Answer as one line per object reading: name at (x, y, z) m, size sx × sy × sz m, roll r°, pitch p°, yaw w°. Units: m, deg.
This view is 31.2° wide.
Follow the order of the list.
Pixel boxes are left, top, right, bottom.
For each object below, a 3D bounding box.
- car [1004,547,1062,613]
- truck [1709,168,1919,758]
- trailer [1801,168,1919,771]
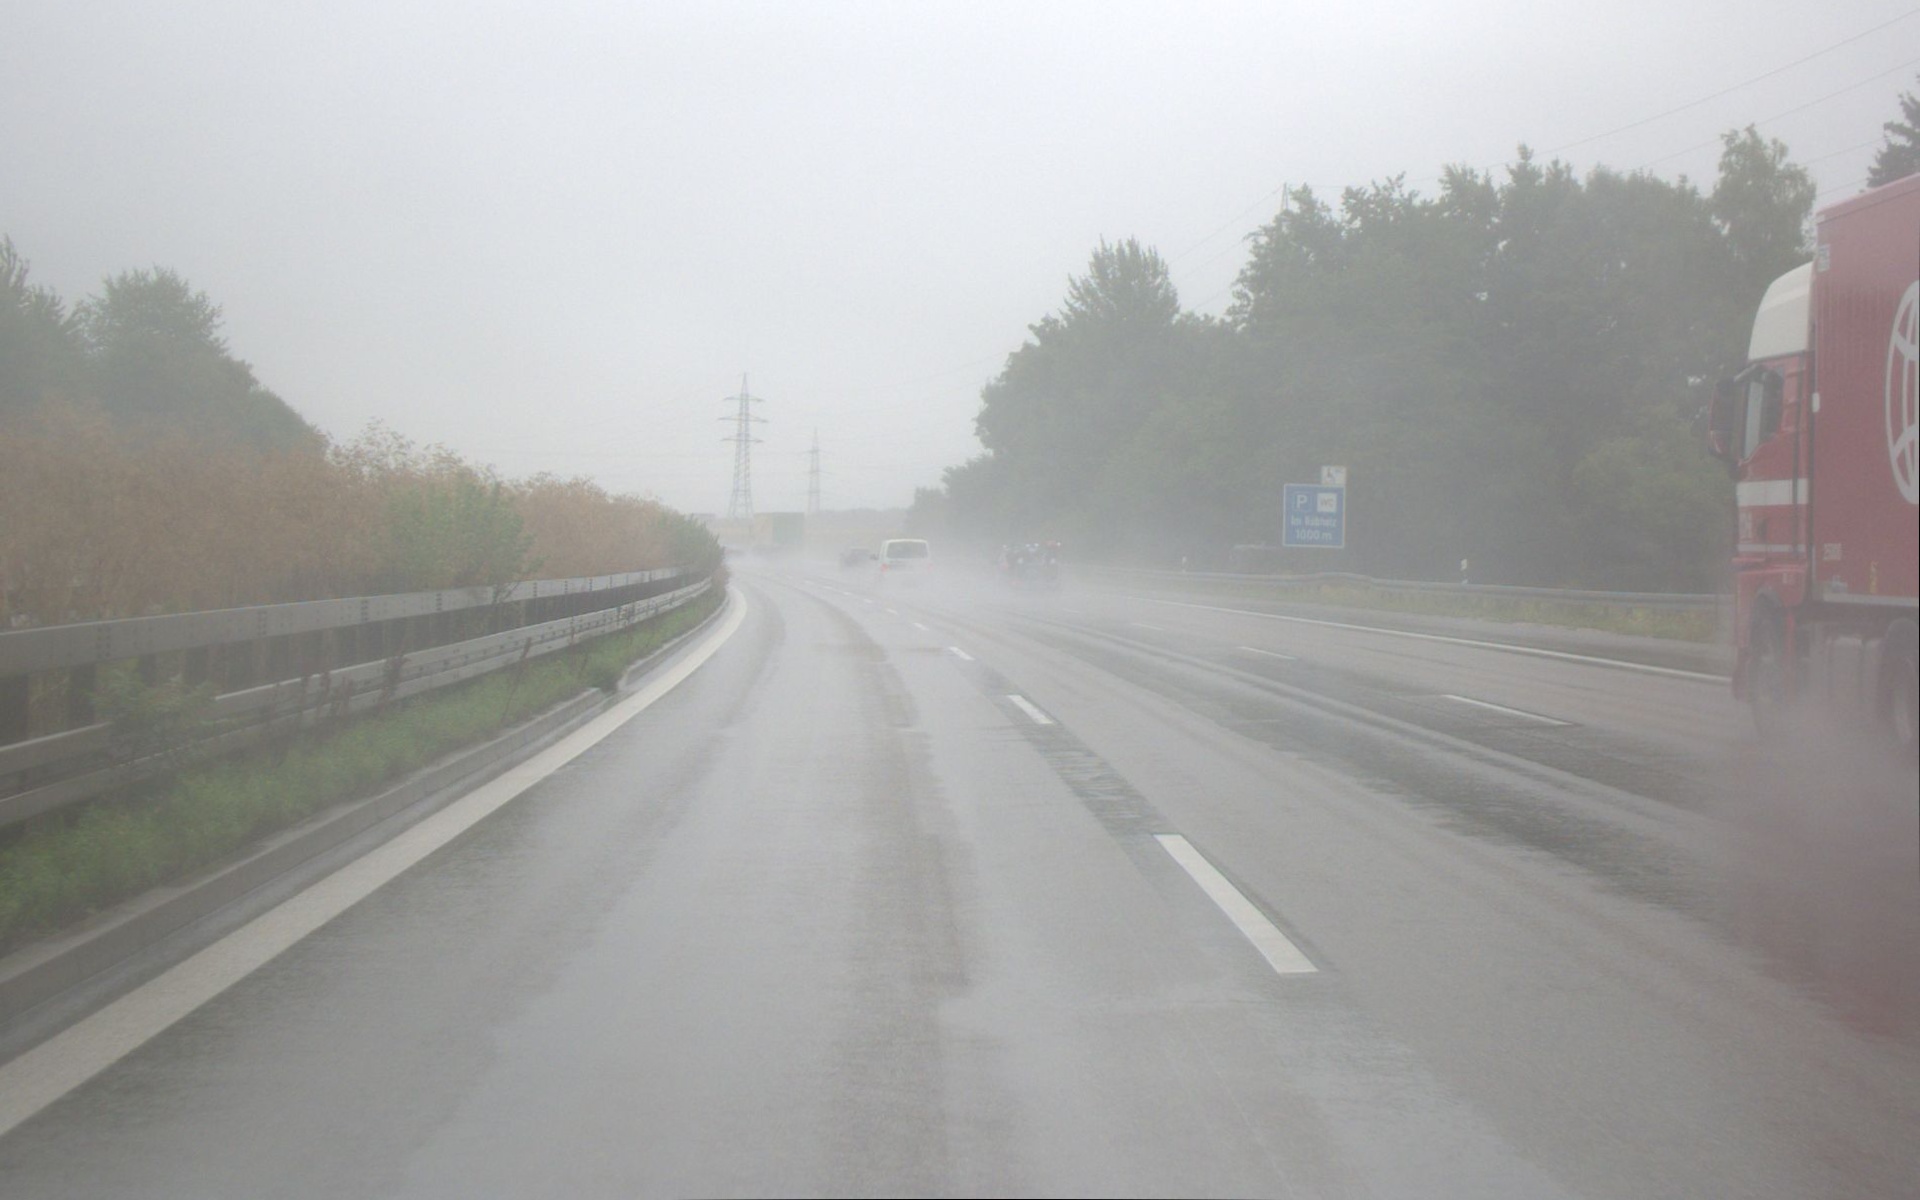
car at (2.440, -0.703, 115.875) m, size 1.807 × 2.151 × 4.000 m, roll 0°, pitch 1°, yaw 0°
truck at (7.539, -0.958, 25.732) m, size 2.620 × 3.942 × 5.433 m, roll 0°, pitch 1°, yaw -1°
trailer at (7.647, -0.789, 18.642) m, size 2.620 × 3.942 × 13.631 m, roll 0°, pitch 1°, yaw -1°
